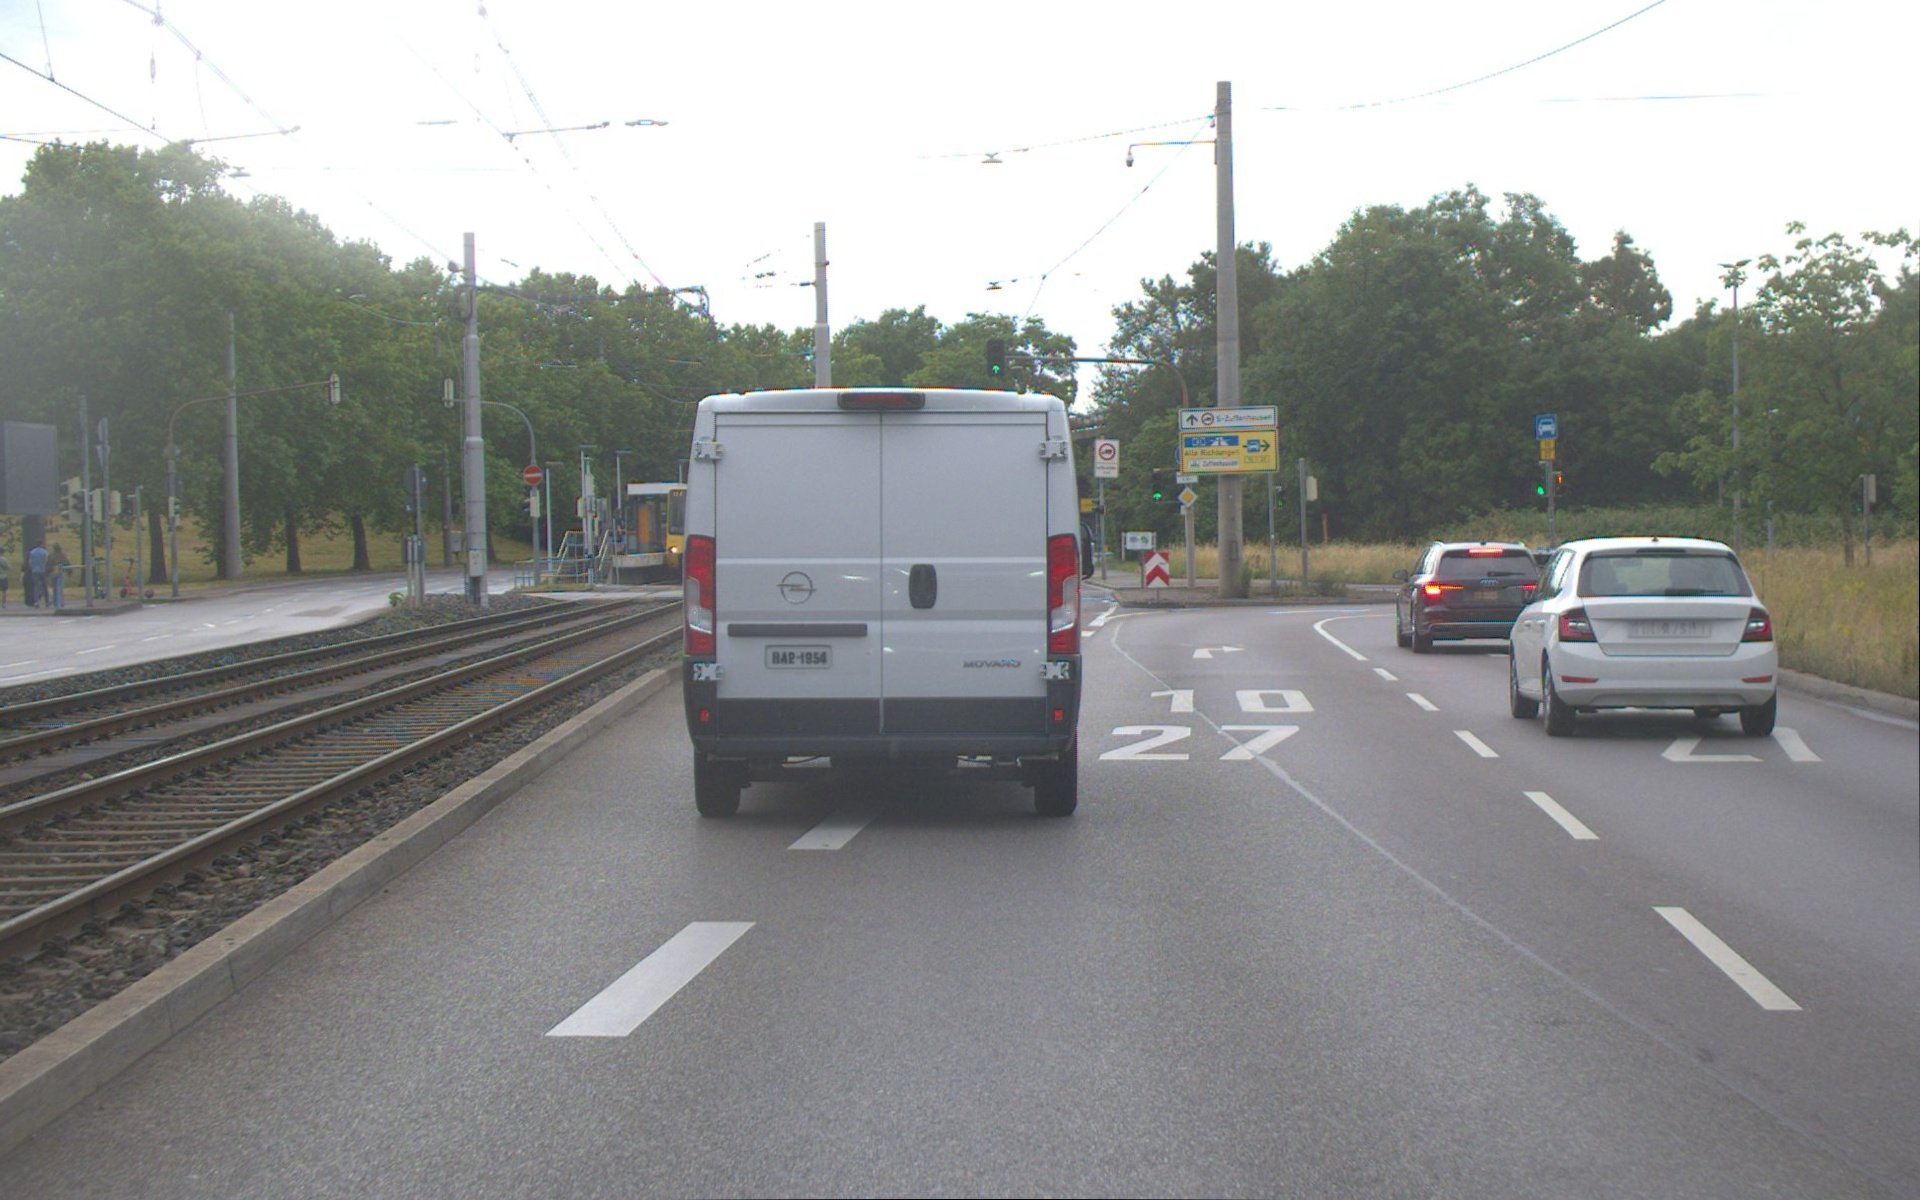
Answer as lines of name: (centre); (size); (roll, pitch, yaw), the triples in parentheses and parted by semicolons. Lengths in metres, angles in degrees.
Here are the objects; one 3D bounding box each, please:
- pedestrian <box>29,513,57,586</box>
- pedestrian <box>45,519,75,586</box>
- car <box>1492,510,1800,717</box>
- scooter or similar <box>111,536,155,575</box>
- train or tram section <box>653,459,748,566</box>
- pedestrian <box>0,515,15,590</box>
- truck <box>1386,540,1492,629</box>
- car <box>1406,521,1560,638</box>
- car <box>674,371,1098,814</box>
pedestrian: (-24.594, -1.362, 92.186); (0.496, 1.949, 0.722); (1, 1, 3)
pedestrian: (-24.088, -1.267, 92.031); (0.506, 1.781, 0.832); (1, 1, 4)
car: (5.161, 0.050, 26.302); (1.746, 1.452, 3.671); (0, 2, 2)
scooter or similar: (-25.546, -1.389, 106.150); (0.380, 1.157, 1.277); (1, 3, 45)
train or tram section: (-9.861, -3.344, 131.195); (2.928, 3.919, 7.006); (1, 1, 1)
pedestrian: (-26.223, -1.283, 93.370); (0.887, 2.007, 0.866); (-1, 1, -5)
truck: (10.605, -0.372, 75.889); (1.994, 1.784, 4.412); (-1, 2, 12)
car: (6.708, -0.297, 44.421); (1.790, 1.444, 3.999); (0, 1, 6)
car: (-0.397, -0.116, 19.638); (2.090, 2.189, 5.061); (0, 2, -1)
